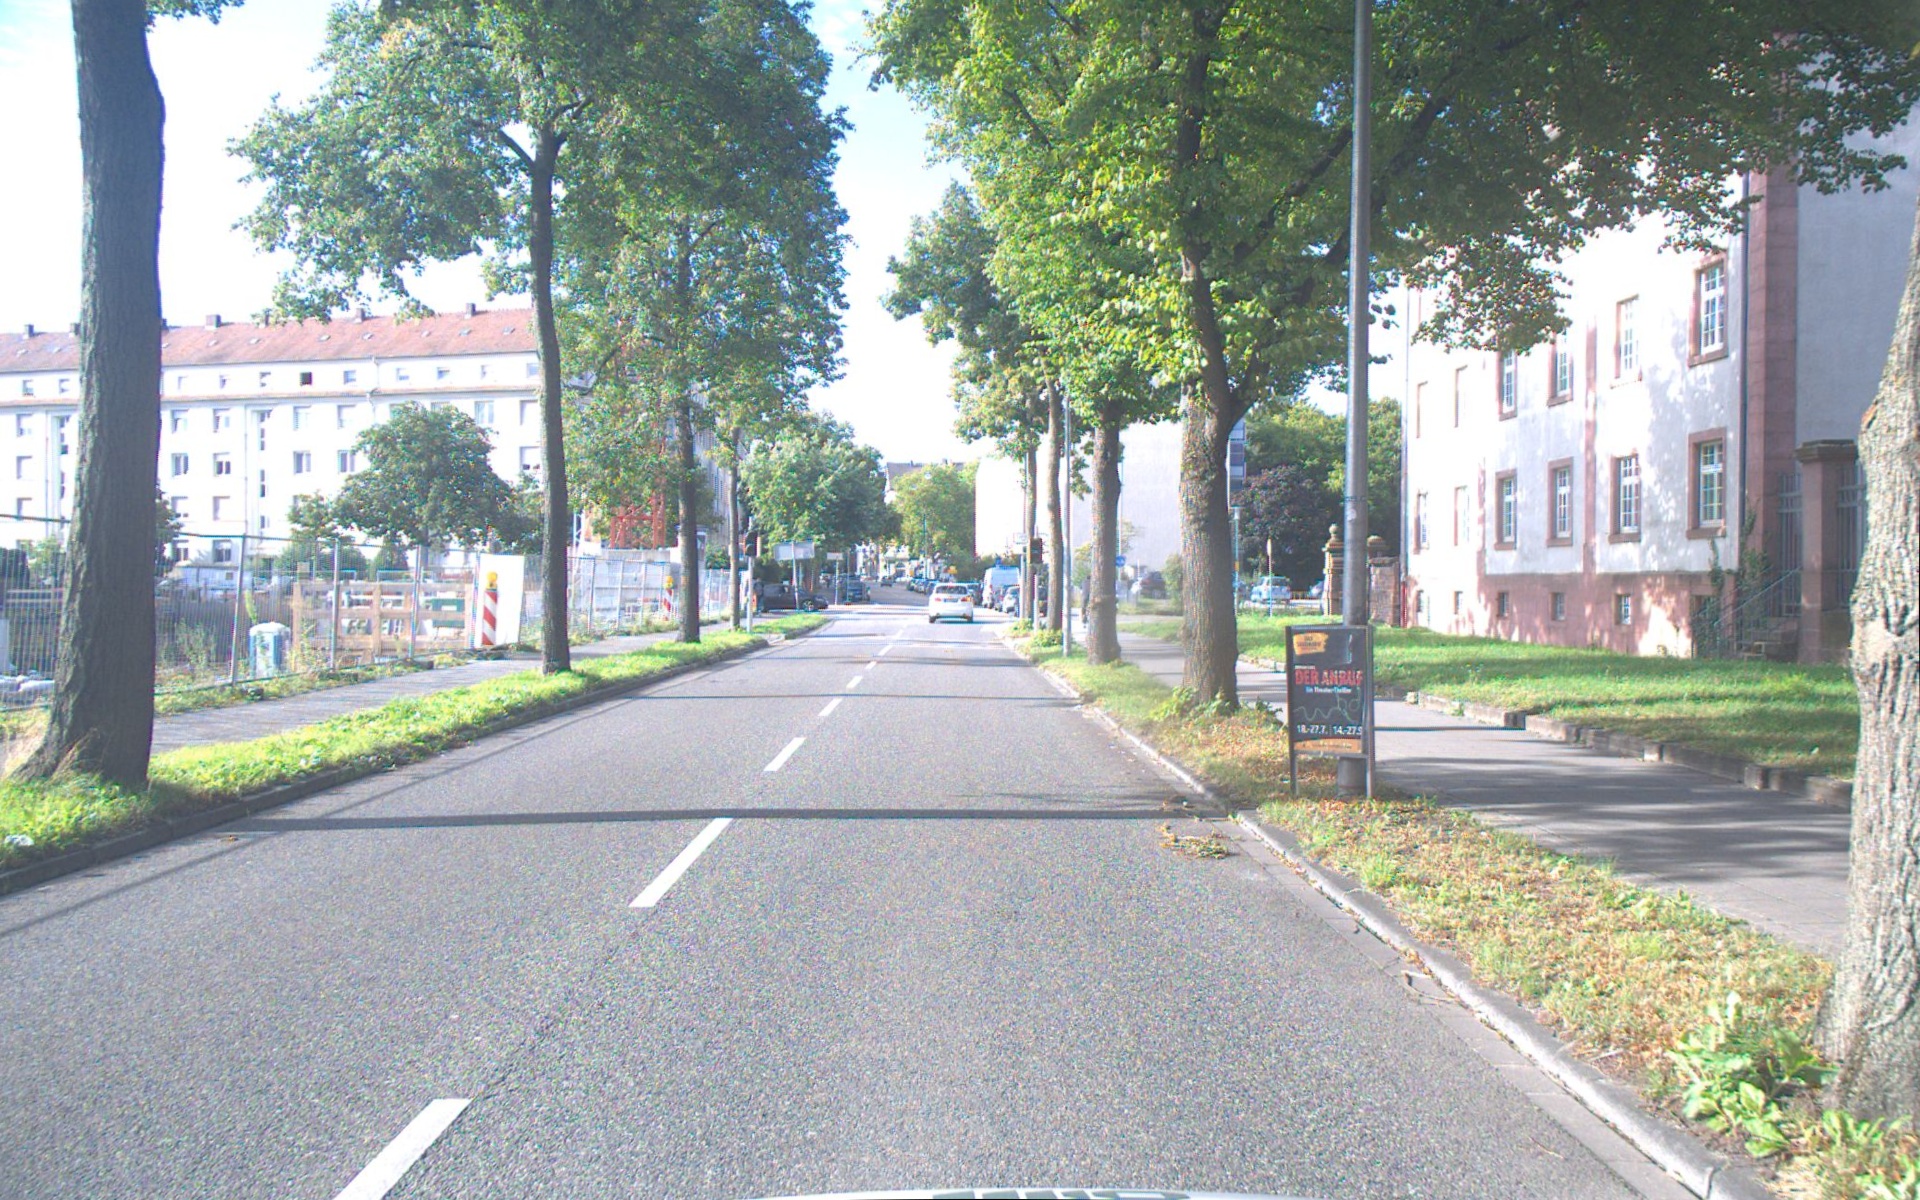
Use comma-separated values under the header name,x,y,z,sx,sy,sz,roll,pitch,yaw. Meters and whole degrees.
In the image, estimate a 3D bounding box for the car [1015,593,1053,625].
name,x,y,z,sx,sy,sz,roll,pitch,yaw
car,3.655,0.412,82.195,1.682,1.522,4.268,-1,0,0

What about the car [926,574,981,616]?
name,x,y,z,sx,sy,sz,roll,pitch,yaw
car,-0.303,-0.212,66.943,1.954,1.582,4.270,1,0,-4

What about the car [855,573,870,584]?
name,x,y,z,sx,sy,sz,roll,pitch,yaw
car,-15.187,-3.349,258.139,2.017,1.692,3.920,-1,1,-7

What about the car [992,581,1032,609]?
name,x,y,z,sx,sy,sz,roll,pitch,yaw
car,3.084,-0.313,98.723,1.954,1.644,4.405,-1,1,-4

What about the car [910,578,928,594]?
name,x,y,z,sx,sy,sz,roll,pitch,yaw
car,-4.727,-1.669,192.294,1.953,1.785,4.000,1,0,0

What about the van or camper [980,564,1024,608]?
name,x,y,z,sx,sy,sz,roll,pitch,yaw
van or camper,2.632,-0.912,104.746,2.166,2.652,5.366,-1,1,-5

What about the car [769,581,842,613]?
name,x,y,z,sx,sy,sz,roll,pitch,yaw
car,-8.114,-0.170,86.617,1.981,1.598,3.944,1,1,-39

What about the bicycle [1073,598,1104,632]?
name,x,y,z,sx,sy,sz,roll,pitch,yaw
bicycle,4.209,0.482,54.464,0.725,1.053,2.761,-2,0,-1

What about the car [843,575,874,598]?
name,x,y,z,sx,sy,sz,roll,pitch,yaw
car,-7.433,-0.989,120.916,1.956,1.668,3.994,-1,1,-7

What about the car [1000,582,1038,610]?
name,x,y,z,sx,sy,sz,roll,pitch,yaw
car,3.309,-0.239,93.373,1.974,1.500,4.802,-1,0,0

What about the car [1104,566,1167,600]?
name,x,y,z,sx,sy,sz,roll,pitch,yaw
car,11.563,-1.137,109.226,4.033,2.224,2.001,0,1,2

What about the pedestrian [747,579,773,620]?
name,x,y,z,sx,sy,sz,roll,pitch,yaw
pedestrian,-8.728,-0.013,72.052,0.989,1.758,1.174,1,-1,-13

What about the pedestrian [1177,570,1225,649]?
name,x,y,z,sx,sy,sz,roll,pitch,yaw
pedestrian,5.178,0.191,35.555,0.797,1.617,0.769,-4,0,-2

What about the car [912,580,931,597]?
name,x,y,z,sx,sy,sz,roll,pitch,yaw
car,-4.205,-1.219,180.646,1.953,1.785,4.000,1,0,0

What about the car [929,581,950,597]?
name,x,y,z,sx,sy,sz,roll,pitch,yaw
car,-2.059,-1.094,163.074,1.953,1.601,3.999,0,1,-2

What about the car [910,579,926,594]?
name,x,y,z,sx,sy,sz,roll,pitch,yaw
car,-5.435,-1.718,212.756,1.953,1.785,4.000,1,0,0

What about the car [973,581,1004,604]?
name,x,y,z,sx,sy,sz,roll,pitch,yaw
car,1.987,-0.541,115.667,1.953,1.601,3.999,0,1,-2

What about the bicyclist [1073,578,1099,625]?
name,x,y,z,sx,sy,sz,roll,pitch,yaw
bicyclist,4.177,0.049,54.695,0.722,1.540,0.874,-2,0,-1

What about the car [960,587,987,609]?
name,x,y,z,sx,sy,sz,roll,pitch,yaw
car,1.022,-0.197,126.208,1.953,1.601,3.999,0,1,-2

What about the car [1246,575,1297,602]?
name,x,y,z,sx,sy,sz,roll,pitch,yaw
car,17.676,-0.683,94.024,1.954,1.467,3.997,-1,1,-4

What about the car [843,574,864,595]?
name,x,y,z,sx,sy,sz,roll,pitch,yaw
car,-10.780,-1.595,167.448,1.953,2.049,3.999,0,1,-2
